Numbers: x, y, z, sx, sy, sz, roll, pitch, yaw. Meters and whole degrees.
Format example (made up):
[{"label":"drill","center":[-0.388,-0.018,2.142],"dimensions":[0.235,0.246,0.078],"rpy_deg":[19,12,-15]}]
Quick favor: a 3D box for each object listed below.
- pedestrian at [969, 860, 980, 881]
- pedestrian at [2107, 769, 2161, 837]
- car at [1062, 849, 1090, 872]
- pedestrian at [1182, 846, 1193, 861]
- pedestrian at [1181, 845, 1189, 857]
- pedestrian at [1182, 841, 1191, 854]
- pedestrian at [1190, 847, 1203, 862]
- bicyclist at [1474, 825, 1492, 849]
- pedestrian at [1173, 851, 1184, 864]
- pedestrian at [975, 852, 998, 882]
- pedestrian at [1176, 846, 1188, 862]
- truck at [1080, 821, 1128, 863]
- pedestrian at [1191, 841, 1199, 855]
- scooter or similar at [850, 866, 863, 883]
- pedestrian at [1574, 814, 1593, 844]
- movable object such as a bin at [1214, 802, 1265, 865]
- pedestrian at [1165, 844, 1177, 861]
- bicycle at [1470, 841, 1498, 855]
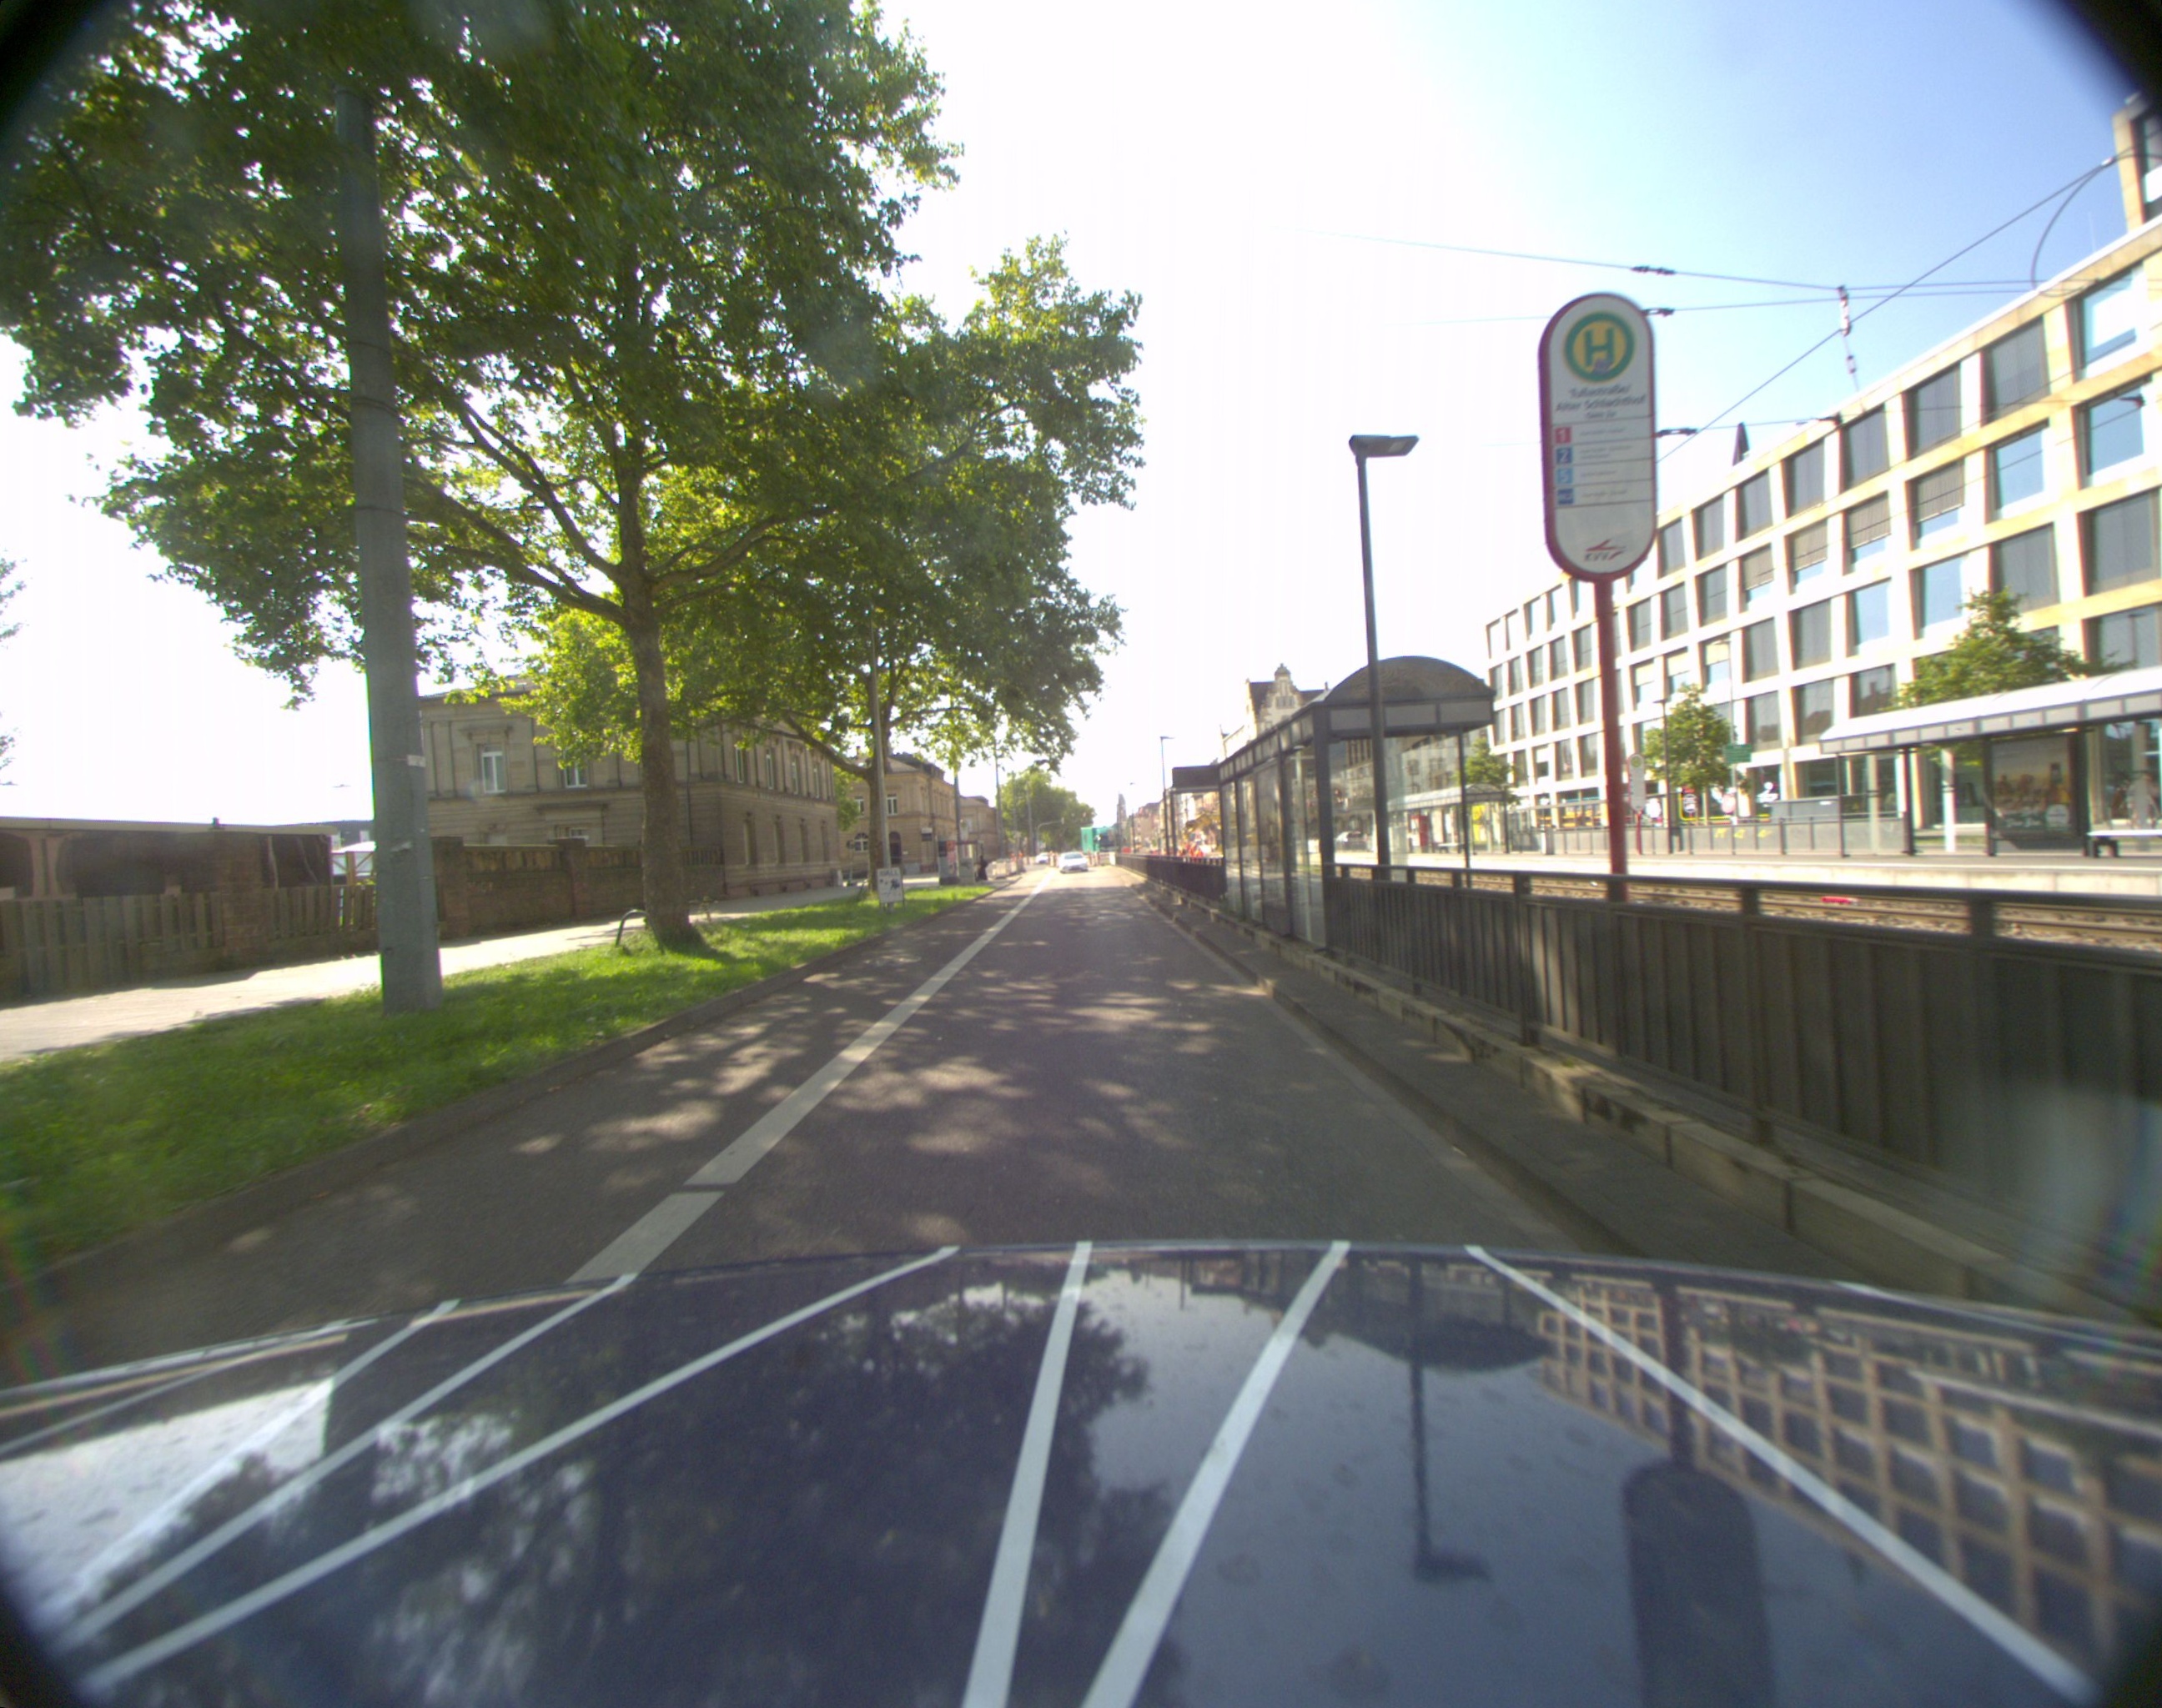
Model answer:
[{"label":"pedestrian","center":[-6.394,0.980,45.645],"dimensions":[0.610,1.211,0.574],"rpy_deg":[-2,1,-2]},{"label":"pedestrian","center":[32.493,-1.545,23.339],"dimensions":[0.769,2.002,0.822],"rpy_deg":[-3,1,4]},{"label":"car","center":[-0.343,0.431,54.499],"dimensions":[1.844,1.451,4.000],"rpy_deg":[-3,1,1]},{"label":"pedestrian","center":[9.170,-0.042,65.342],"dimensions":[0.701,1.171,0.703],"rpy_deg":[-3,1,21]},{"label":"pedestrian","center":[12.048,-0.344,87.951],"dimensions":[0.678,1.239,0.547],"rpy_deg":[-3,1,-1]},{"label":"pedestrian","center":[12.576,-0.765,90.562],"dimensions":[0.754,1.547,0.735],"rpy_deg":[-4,1,-42]},{"label":"pedestrian","center":[9.009,0.047,59.308],"dimensions":[0.701,1.148,0.589],"rpy_deg":[-3,1,40]},{"label":"bicyclist","center":[23.611,-1.024,44.602],"dimensions":[0.631,1.394,0.784],"rpy_deg":[-1,2,0]},{"label":"pedestrian","center":[7.521,0.259,58.503],"dimensions":[0.702,0.949,0.882],"rpy_deg":[-3,0,1]},{"label":"pedestrian","center":[-5.286,0.728,42.365],"dimensions":[0.885,1.616,0.821],"rpy_deg":[-4,1,-35]},{"label":"pedestrian","center":[8.561,-0.009,64.282],"dimensions":[0.701,1.327,0.838],"rpy_deg":[-3,1,21]},{"label":"truck","center":[2.137,-1.070,74.029],"dimensions":[2.817,3.766,9.008],"rpy_deg":[-3,0,-9]},{"label":"pedestrian","center":[13.542,-0.718,90.012],"dimensions":[0.752,1.692,0.678],"rpy_deg":[-3,1,0]},{"label":"scooter or similar","center":[-16.134,1.435,54.530],"dimensions":[0.409,1.159,1.226],"rpy_deg":[-3,1,5]},{"label":"pedestrian","center":[34.266,-1.711,51.807],"dimensions":[0.854,2.002,0.690],"rpy_deg":[-1,2,0]},{"label":"movable object such as a bin","center":[12.151,-1.529,58.663],"dimensions":[2.994,4.528,4.212],"rpy_deg":[-3,0,2]},{"label":"pedestrian","center":[7.800,-0.120,65.884],"dimensions":[0.741,1.470,0.704],"rpy_deg":[-3,1,22]},{"label":"bicycle","center":[23.621,-0.366,44.615],"dimensions":[0.631,0.817,1.897],"rpy_deg":[-1,2,0]}]
